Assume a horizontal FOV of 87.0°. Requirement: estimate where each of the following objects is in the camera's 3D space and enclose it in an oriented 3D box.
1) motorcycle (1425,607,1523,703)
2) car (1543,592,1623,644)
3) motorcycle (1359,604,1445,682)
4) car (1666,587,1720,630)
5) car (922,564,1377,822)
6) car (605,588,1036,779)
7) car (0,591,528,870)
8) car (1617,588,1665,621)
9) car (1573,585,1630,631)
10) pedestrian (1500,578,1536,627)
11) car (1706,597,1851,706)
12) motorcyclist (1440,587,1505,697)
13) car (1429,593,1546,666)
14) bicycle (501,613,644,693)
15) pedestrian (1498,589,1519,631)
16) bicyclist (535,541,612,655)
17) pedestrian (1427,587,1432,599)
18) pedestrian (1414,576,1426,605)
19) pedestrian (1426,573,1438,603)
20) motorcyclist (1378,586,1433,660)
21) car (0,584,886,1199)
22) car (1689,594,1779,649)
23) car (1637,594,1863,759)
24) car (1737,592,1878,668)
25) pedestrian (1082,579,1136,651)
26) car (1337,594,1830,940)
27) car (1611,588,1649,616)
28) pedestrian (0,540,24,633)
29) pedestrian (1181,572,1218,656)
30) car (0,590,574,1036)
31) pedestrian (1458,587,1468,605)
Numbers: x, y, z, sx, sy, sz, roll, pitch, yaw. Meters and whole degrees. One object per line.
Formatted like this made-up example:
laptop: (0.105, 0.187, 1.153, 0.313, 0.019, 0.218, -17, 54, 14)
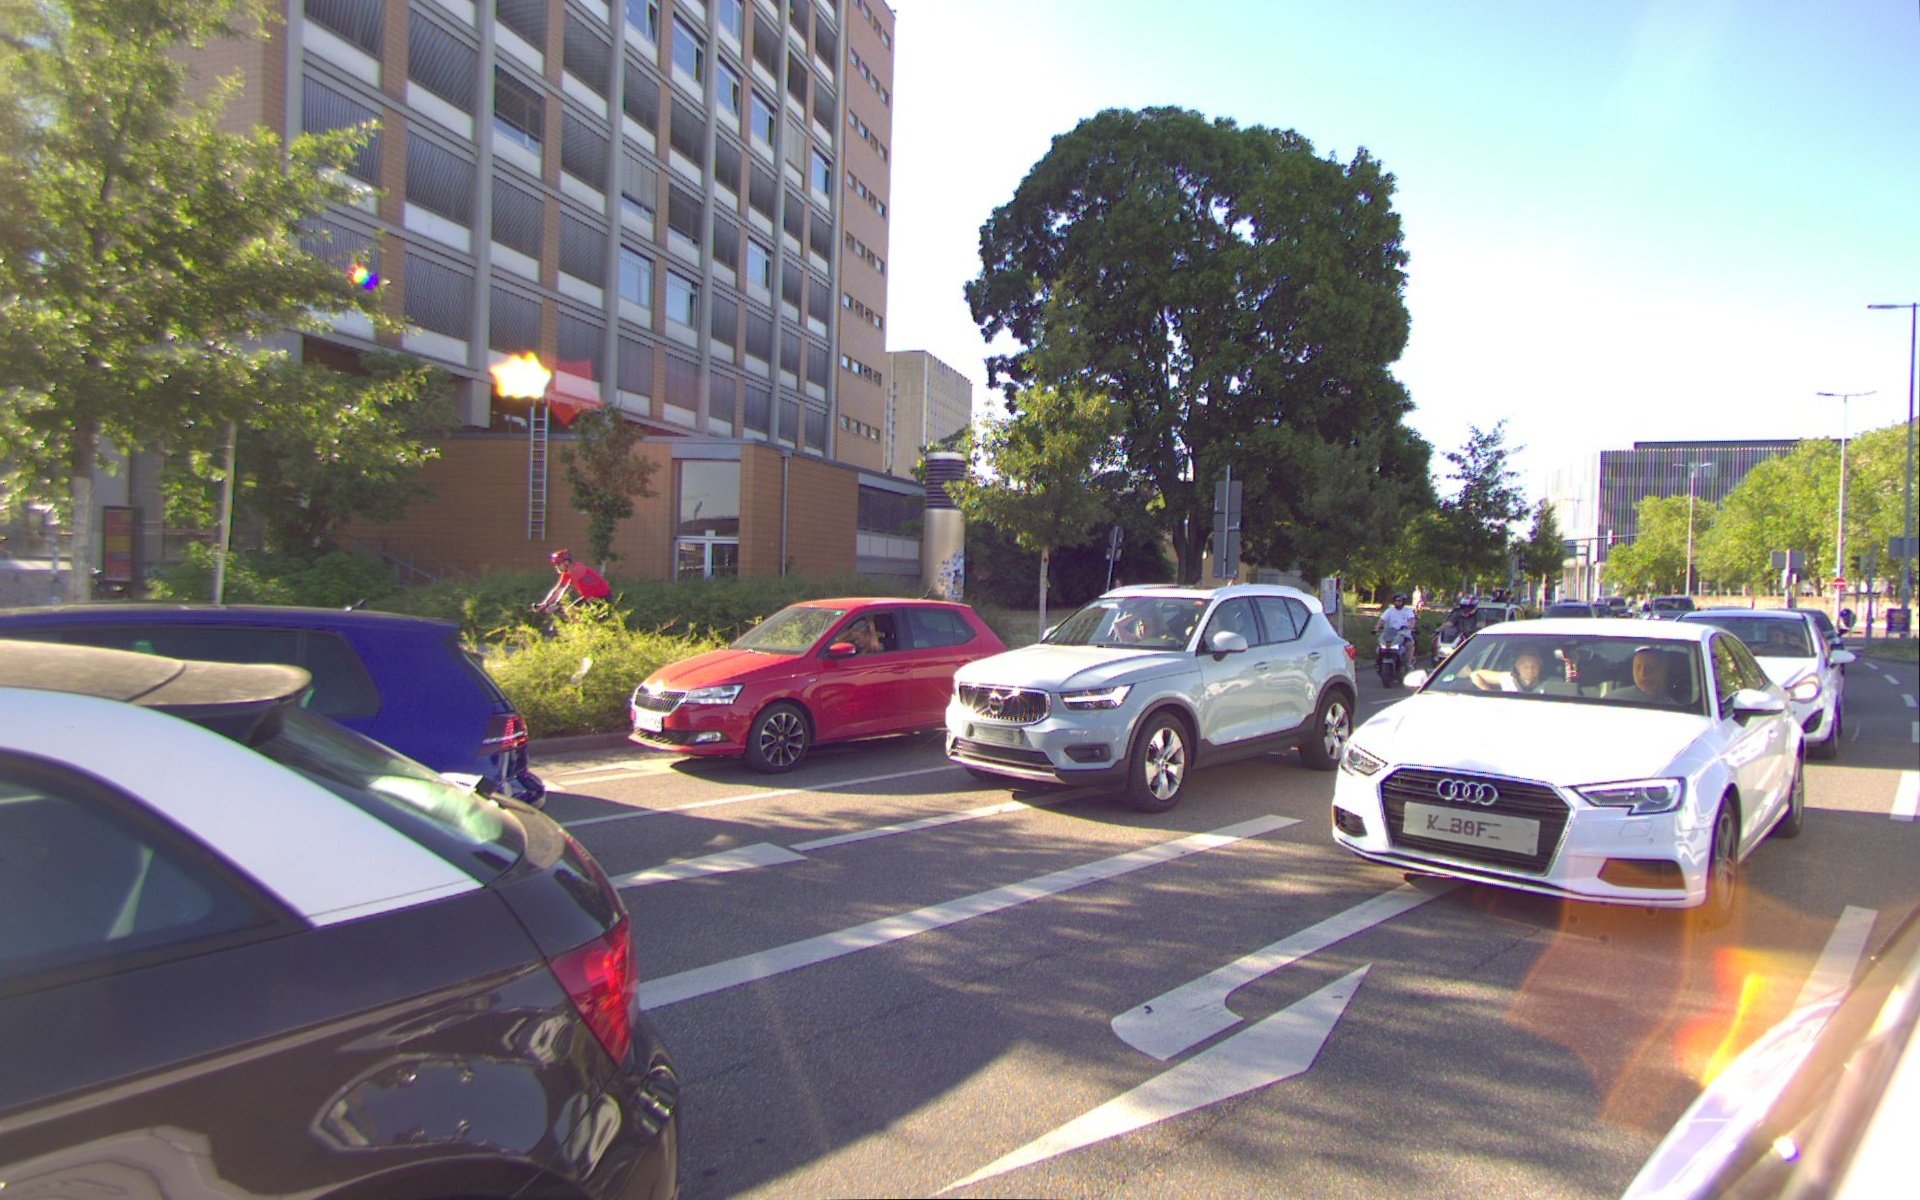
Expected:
motorcycle: (7.904, 0.794, 15.514, 0.716, 1.321, 2.199, 0, 0, 44)
car: (20.738, 0.543, 33.625, 1.738, 1.564, 3.944, 2, 1, 39)
motorcycle: (8.142, 0.749, 18.591, 0.716, 1.321, 2.199, 0, 0, 44)
car: (33.552, 0.339, 46.426, 1.867, 1.838, 3.950, 2, 1, 35)
car: (1.771, 0.568, 8.465, 4.153, 1.641, 1.625, -1, 0, -43)
car: (-1.194, 0.628, 9.850, 3.974, 1.478, 1.625, -1, 0, -43)
car: (-5.187, 0.667, 6.125, 4.433, 1.422, 1.726, -1, 0, -41)
car: (37.740, 0.219, 56.169, 1.730, 1.727, 3.961, 2, 1, 28)
car: (27.612, 0.303, 43.531, 1.867, 1.838, 3.950, 2, 1, 35)
pedestrian: (23.714, 0.099, 43.001, 1.137, 2.039, 1.268, 0, 0, 39)
car: (13.109, 0.708, 16.126, 1.622, 1.478, 3.981, 0, 0, 42)
motorcyclist: (7.797, 0.613, 15.390, 0.709, 1.610, 0.679, 0, 0, 45)
car: (12.687, 0.631, 24.233, 1.738, 1.544, 3.943, 2, 2, 39)
bicycle: (-5.545, 0.721, 14.613, 0.654, 0.975, 2.016, 2, 2, 27)
pedestrian: (21.155, 0.378, 39.031, 0.593, 1.615, 0.586, 0, 0, 41)
bicyclist: (-5.561, -0.030, 14.592, 0.611, 1.580, 0.863, 0, 0, 26)
pedestrian: (61.542, -0.933, 132.697, 0.477, 1.504, 0.409, 1, 1, -41)
pedestrian: (25.257, -0.529, 55.593, 0.543, 1.549, 0.598, 0, 0, 30)
pedestrian: (25.788, -0.658, 55.317, 0.543, 1.627, 0.598, 0, 0, 30)
motorcyclist: (8.202, 0.402, 18.644, 0.716, 1.321, 0.724, 0, 0, 45)
car: (-2.141, 0.700, 1.170, 3.930, 1.422, 1.626, -1, 0, -41)
car: (26.776, 0.683, 35.131, 1.730, 1.727, 3.962, 2, 1, 27)
car: (8.870, 0.687, 11.231, 1.623, 1.478, 3.979, 0, 1, 43)
car: (19.763, 0.625, 23.775, 1.731, 1.564, 3.960, 2, 1, 29)
pedestrian: (3.659, 0.352, 24.816, 1.005, 1.742, 0.873, 0, 0, 39)
car: (3.943, 0.688, 6.125, 3.769, 1.422, 1.625, -1, 0, -43)
car: (47.596, 0.127, 71.939, 1.863, 1.838, 3.959, 2, 1, 29)
pedestrian: (-18.131, -0.255, 19.270, 0.441, 1.754, 0.372, 0, 0, 35)
pedestrian: (5.515, 0.309, 23.334, 0.681, 1.910, 0.465, 0, 0, -24)
car: (-3.704, 0.683, 3.778, 3.930, 1.422, 1.626, -1, 0, -41)
pedestrian: (56.484, -0.486, 113.567, 0.828, 2.039, 1.061, 0, 0, 19)
